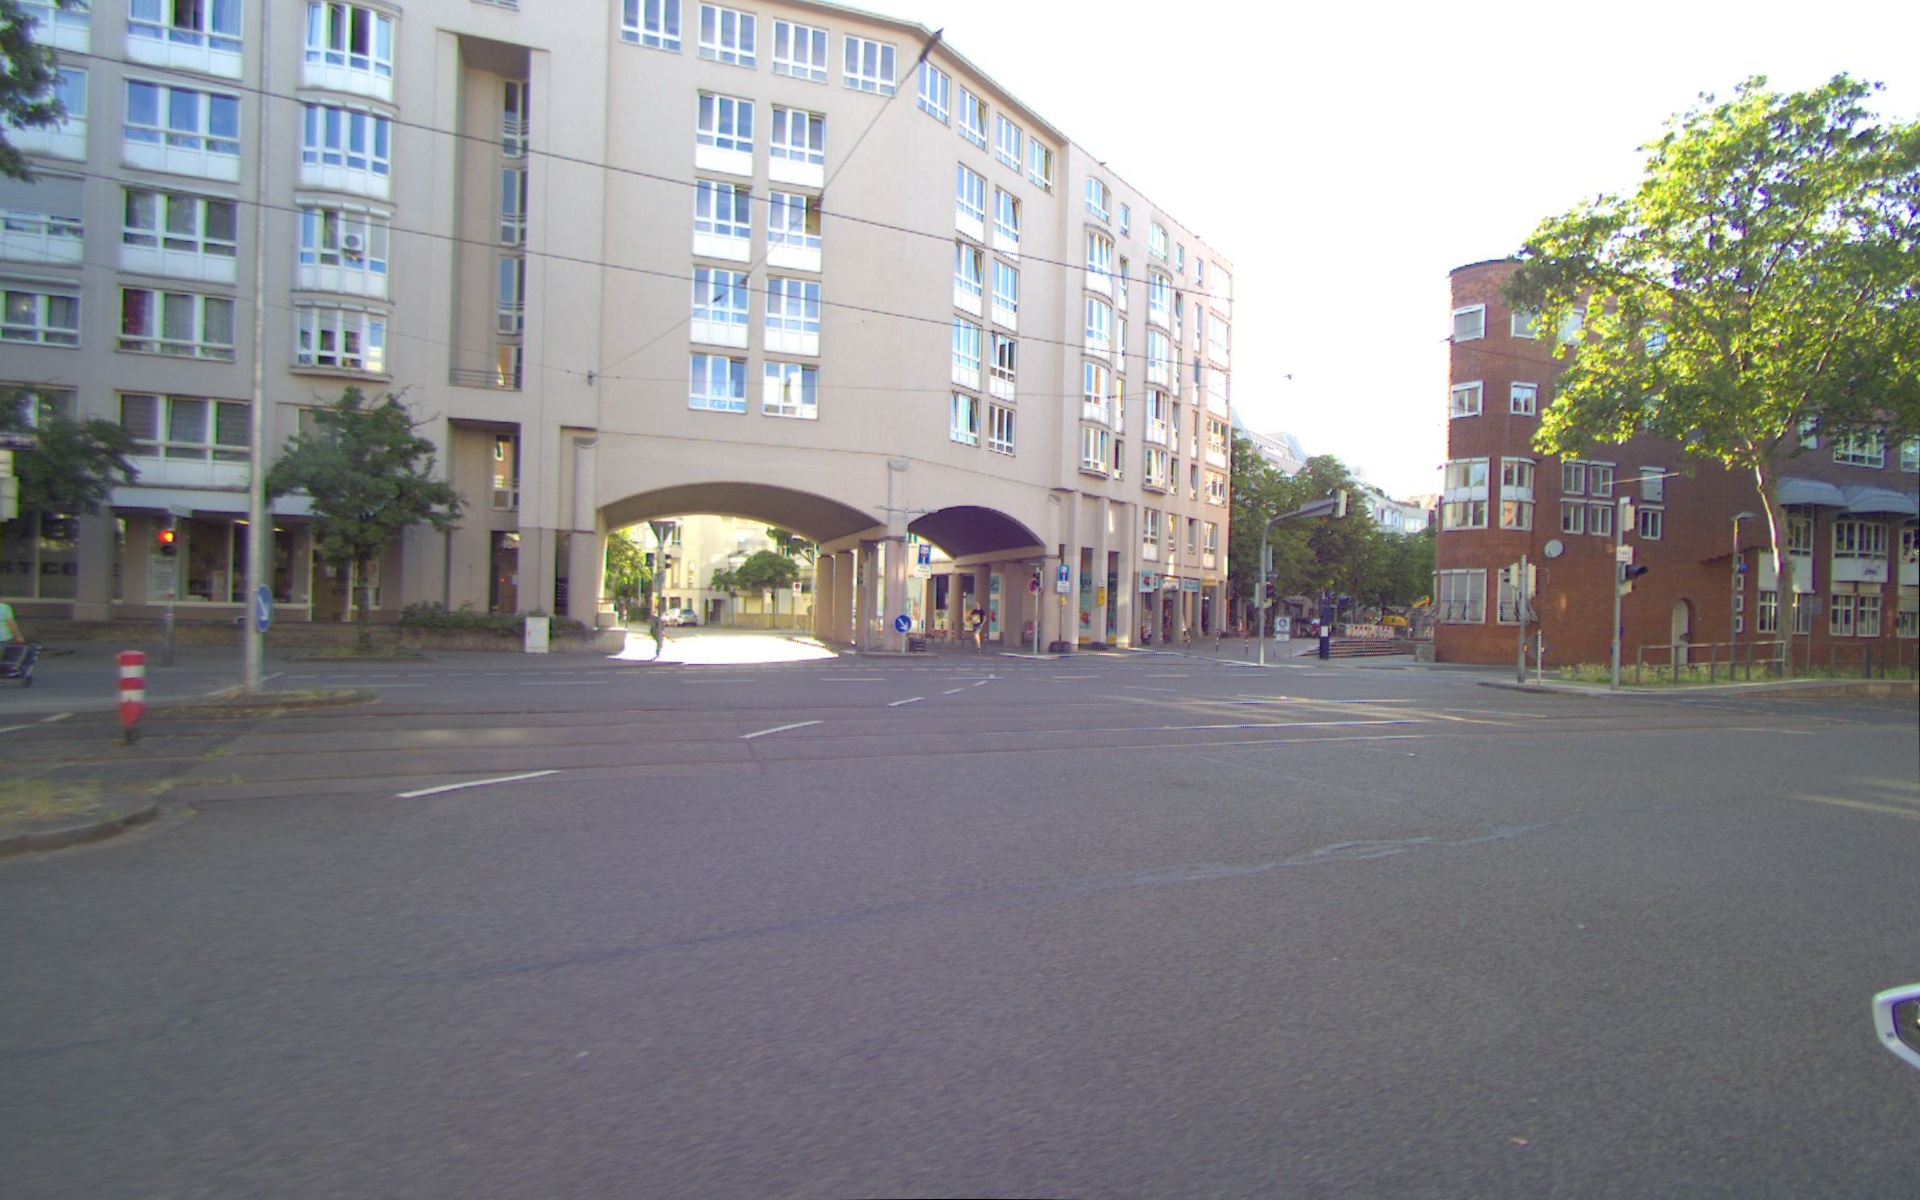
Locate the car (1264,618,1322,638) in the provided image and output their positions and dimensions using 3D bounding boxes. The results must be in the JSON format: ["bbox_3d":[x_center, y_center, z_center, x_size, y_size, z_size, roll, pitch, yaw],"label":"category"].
[{"bbox_3d":[25.441,2.125,76.680,3.926,1.419,1.998,1,0,27],"label":"car"}]

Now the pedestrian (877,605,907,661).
[{"bbox_3d":[-2.332,1.117,34.489,0.742,1.894,0.852,1,-1,-27],"label":"pedestrian"}]

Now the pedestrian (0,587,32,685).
[{"bbox_3d":[-15.315,0.562,15.996,0.526,1.523,0.618,1,0,-16],"label":"pedestrian"}]

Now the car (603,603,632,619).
[{"bbox_3d":[-32.043,1.047,93.970,1.668,1.413,3.621,2,-1,-33],"label":"car"}]

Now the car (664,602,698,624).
[{"bbox_3d":[-22.926,1.070,82.550,1.876,1.752,3.626,2,-1,-29],"label":"car"}]

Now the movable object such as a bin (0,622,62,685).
[{"bbox_3d":[-14.618,0.841,15.815,0.531,0.966,0.510,1,0,-16],"label":"movable object such as a bin"}]

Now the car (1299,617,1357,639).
[{"bbox_3d":[28.876,2.186,78.855,3.938,1.576,1.992,2,0,-19],"label":"car"}]

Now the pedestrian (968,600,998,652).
[{"bbox_3d":[0.916,1.045,40.295,0.823,2.040,0.884,1,0,36],"label":"pedestrian"}]

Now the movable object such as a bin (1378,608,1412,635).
[{"bbox_3d":[39.803,1.959,91.966,2.770,2.341,1.907,2,-1,-44],"label":"movable object such as a bin"}]
